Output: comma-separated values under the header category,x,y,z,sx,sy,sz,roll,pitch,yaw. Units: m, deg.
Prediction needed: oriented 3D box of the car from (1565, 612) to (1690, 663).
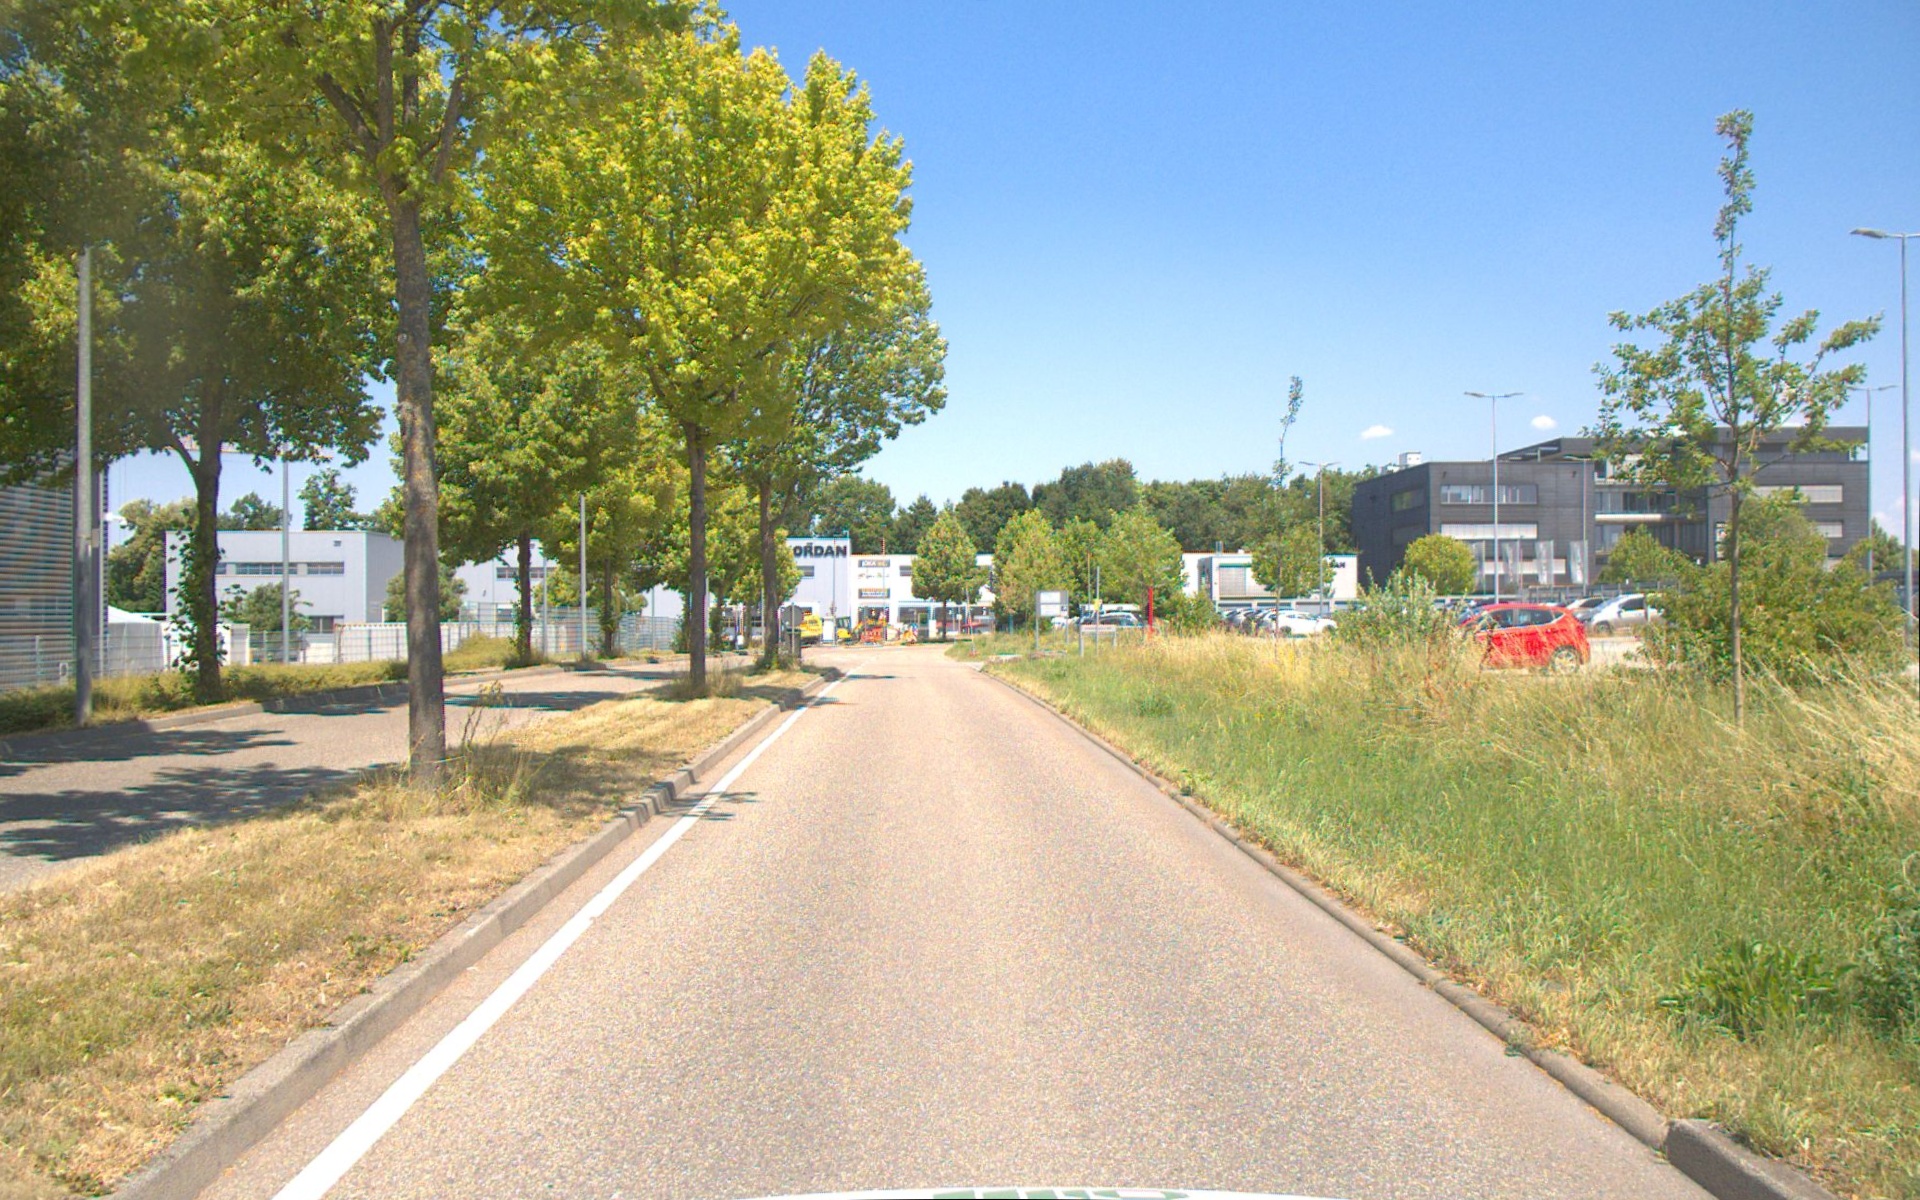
category,x,y,z,sx,sy,sz,roll,pitch,yaw
car,24.633,1.377,61.123,3.910,1.623,1.767,-2,2,-6

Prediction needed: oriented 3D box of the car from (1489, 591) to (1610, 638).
category,x,y,z,sx,sy,sz,roll,pitch,yaw
car,23.892,0.568,67.078,4.282,1.623,1.767,-2,2,-6

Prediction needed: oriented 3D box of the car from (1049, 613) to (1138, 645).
category,x,y,z,sx,sy,sz,roll,pitch,yaw
car,7.174,1.572,89.381,4.608,1.424,1.922,-2,2,0

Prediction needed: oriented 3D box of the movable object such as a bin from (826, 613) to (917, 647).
category,x,y,z,sx,sy,sz,roll,pitch,yaw
movable object such as a bin,-7.699,2.623,144.856,7.367,2.543,3.669,-2,2,6

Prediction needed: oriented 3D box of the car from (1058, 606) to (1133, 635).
category,x,y,z,sx,sy,sz,roll,pitch,yaw
car,7.898,1.212,96.311,4.082,1.424,1.767,-2,2,-6

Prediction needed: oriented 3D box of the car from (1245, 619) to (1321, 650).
category,x,y,z,sx,sy,sz,roll,pitch,yaw
car,18.541,1.947,95.046,3.910,1.516,1.767,-2,2,-6

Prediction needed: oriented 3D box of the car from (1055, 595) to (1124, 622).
category,x,y,z,sx,sy,sz,roll,pitch,yaw
car,8.149,0.540,104.307,4.082,1.424,1.767,-2,2,-6

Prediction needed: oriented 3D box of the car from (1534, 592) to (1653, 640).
category,x,y,z,sx,sy,sz,roll,pitch,yaw
car,24.359,0.594,63.684,3.910,1.623,1.767,-2,2,-6

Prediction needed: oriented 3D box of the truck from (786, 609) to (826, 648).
category,x,y,z,sx,sy,sz,roll,pitch,yaw
truck,-13.466,2.420,144.270,2.886,2.936,5.796,-2,3,-10

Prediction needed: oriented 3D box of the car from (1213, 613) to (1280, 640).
category,x,y,z,sx,sy,sz,roll,pitch,yaw
car,18.293,1.676,105.649,3.910,1.424,1.767,-2,2,-6

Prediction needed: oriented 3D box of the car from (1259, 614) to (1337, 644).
category,x,y,z,sx,sy,sz,roll,pitch,yaw
car,18.813,1.605,92.160,3.910,1.424,1.767,-2,2,-6

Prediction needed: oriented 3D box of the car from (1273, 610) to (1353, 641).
category,x,y,z,sx,sy,sz,roll,pitch,yaw
car,19.145,1.347,89.740,3.909,1.424,1.767,-2,2,-5

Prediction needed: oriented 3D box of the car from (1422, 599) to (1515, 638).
category,x,y,z,sx,sy,sz,roll,pitch,yaw
car,24.586,0.900,80.033,3.910,1.623,1.767,-2,2,-6

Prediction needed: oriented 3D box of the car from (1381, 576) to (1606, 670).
category,x,y,z,sx,sy,sz,roll,pitch,yaw
car,10.804,0.464,33.684,3.907,1.754,1.926,-2,-1,-3

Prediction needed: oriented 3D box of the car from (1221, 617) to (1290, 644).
category,x,y,z,sx,sy,sz,roll,pitch,yaw
car,18.367,1.873,102.930,3.910,1.424,1.767,-2,2,-6

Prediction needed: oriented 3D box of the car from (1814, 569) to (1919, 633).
category,x,y,z,sx,sy,sz,roll,pitch,yaw
car,25.981,0.026,45.518,3.907,1.670,1.926,-2,-1,-3

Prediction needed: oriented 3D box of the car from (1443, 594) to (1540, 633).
category,x,y,z,sx,sy,sz,roll,pitch,yaw
car,24.941,0.622,77.694,3.910,1.623,1.859,-2,2,-6
